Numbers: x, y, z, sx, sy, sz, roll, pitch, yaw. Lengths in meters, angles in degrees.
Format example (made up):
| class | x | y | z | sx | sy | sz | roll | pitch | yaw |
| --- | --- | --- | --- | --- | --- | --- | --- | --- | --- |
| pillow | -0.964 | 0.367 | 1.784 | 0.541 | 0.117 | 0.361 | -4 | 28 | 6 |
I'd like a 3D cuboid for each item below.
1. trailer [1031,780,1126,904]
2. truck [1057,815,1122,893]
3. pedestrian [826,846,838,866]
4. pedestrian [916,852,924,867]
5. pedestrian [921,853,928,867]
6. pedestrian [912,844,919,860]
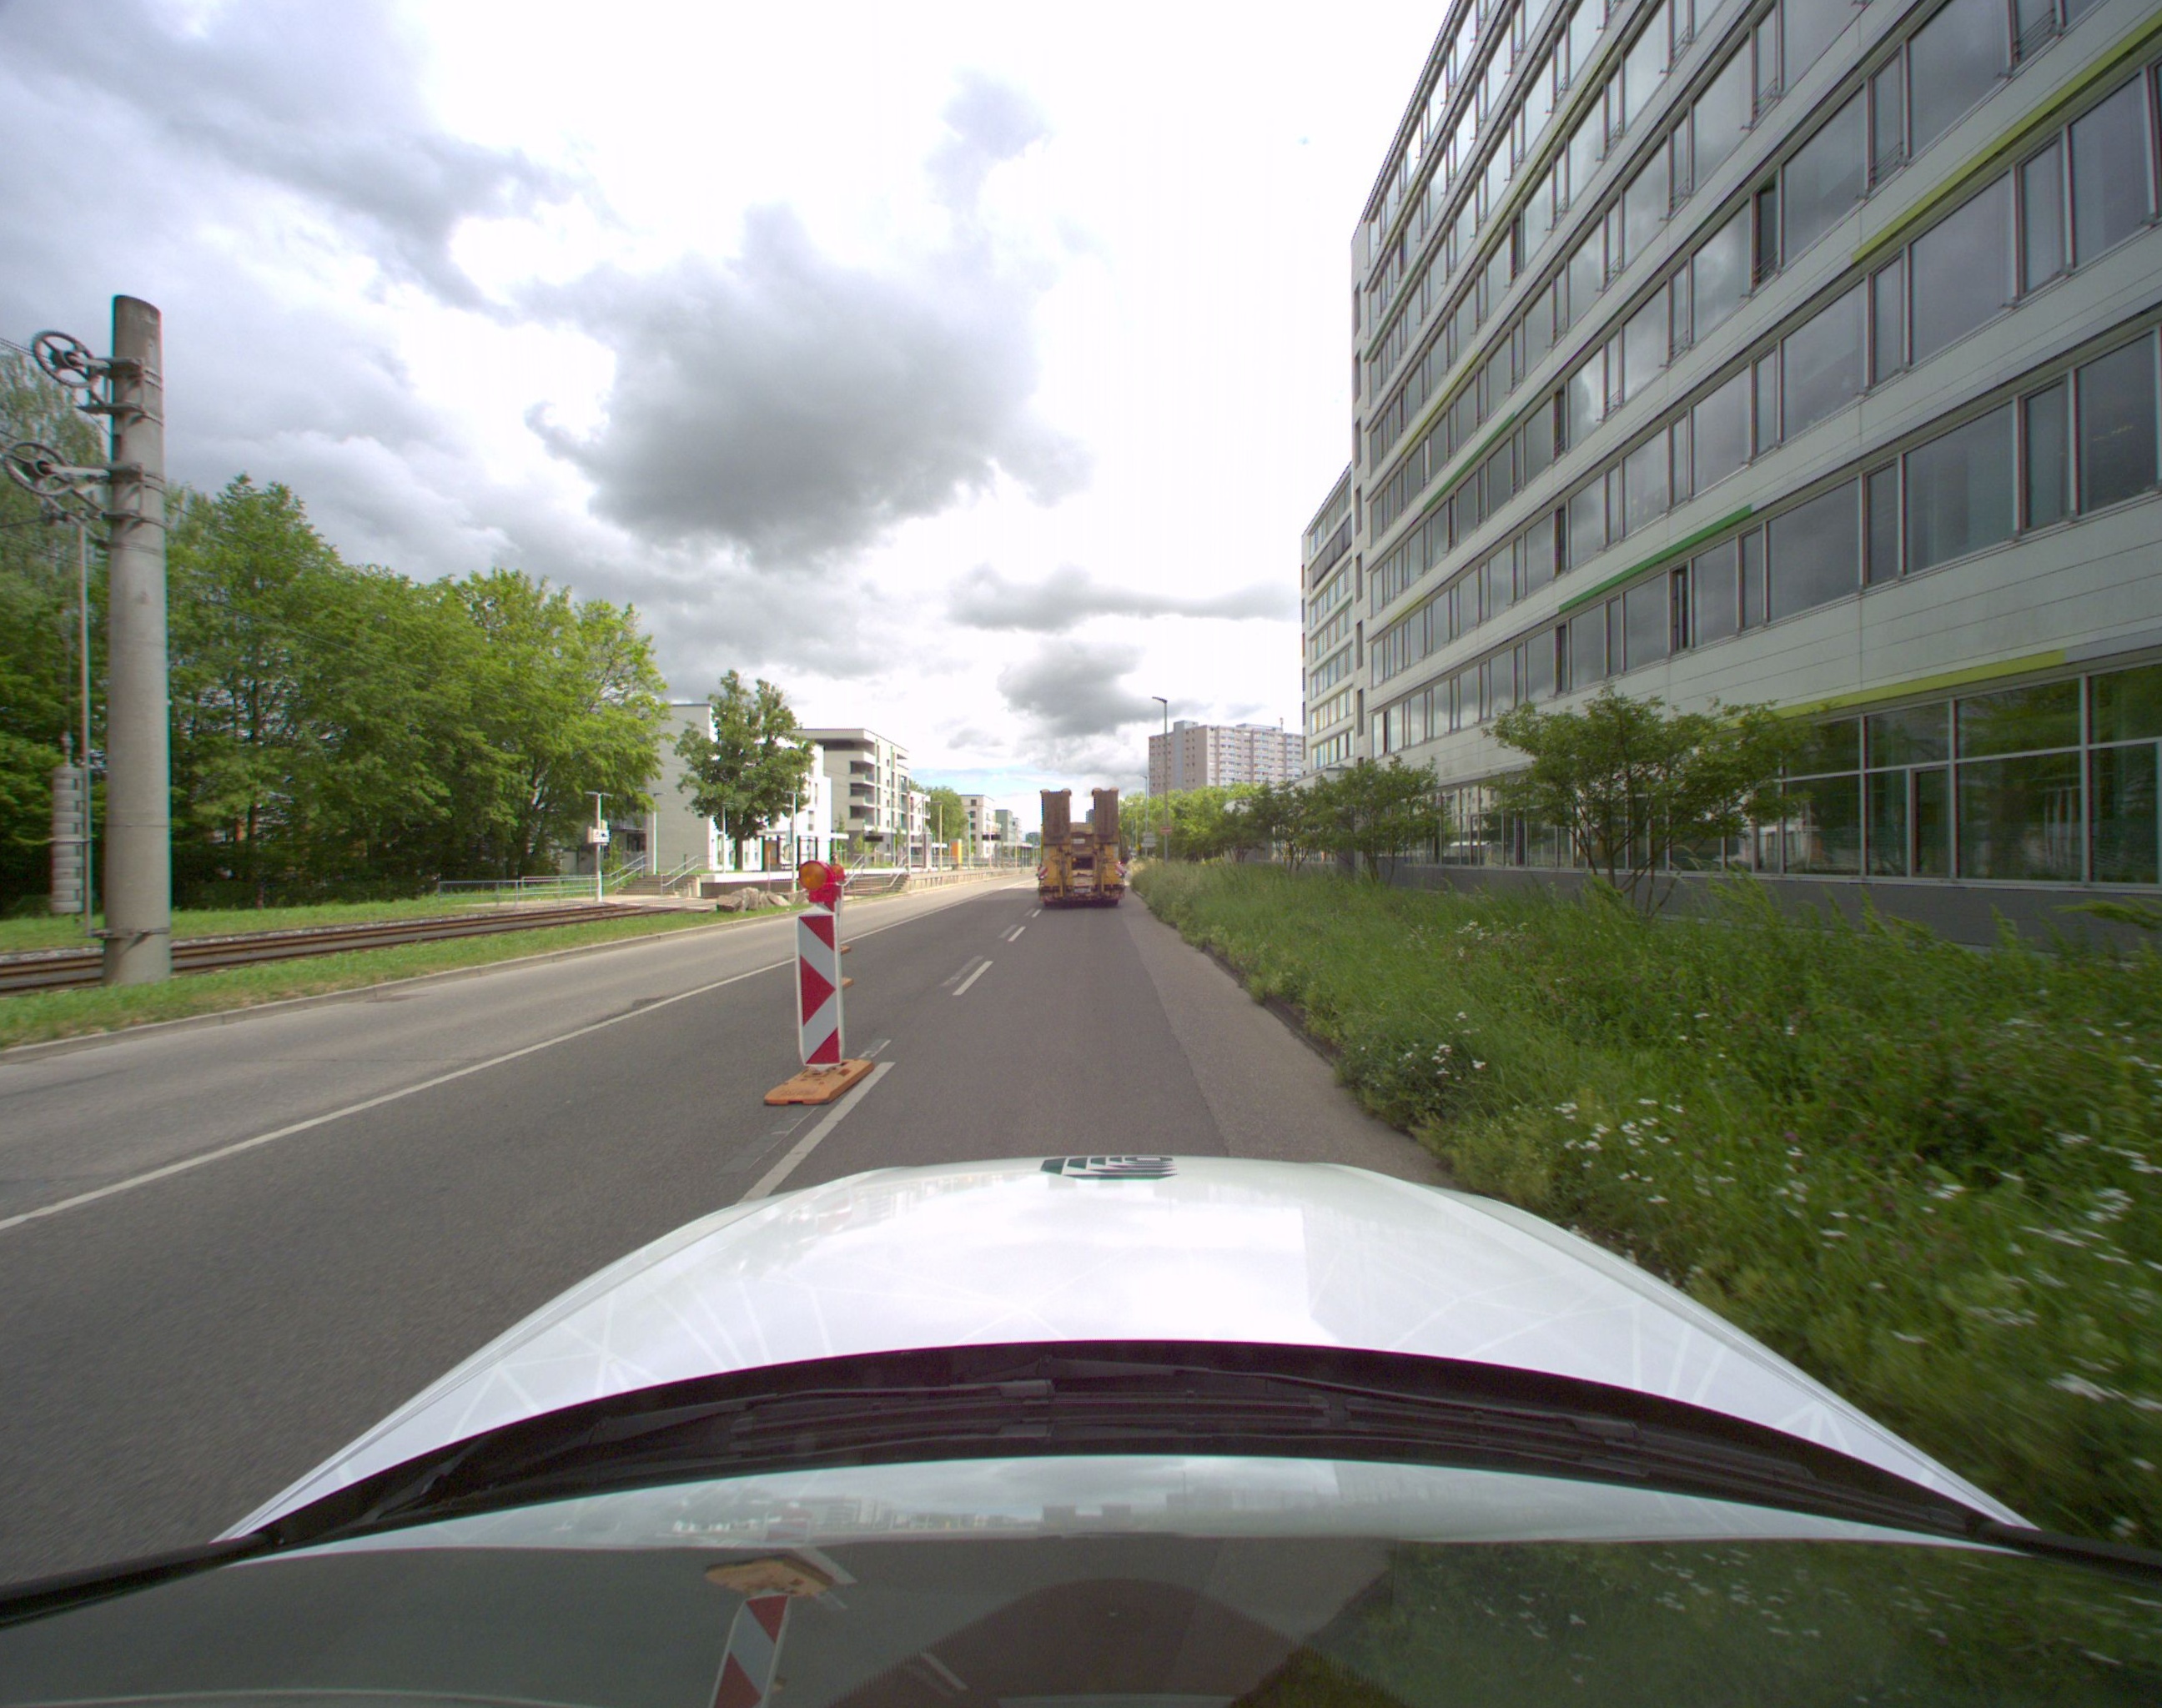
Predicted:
| class | x | y | z | sx | sy | sz | roll | pitch | yaw |
| --- | --- | --- | --- | --- | --- | --- | --- | --- | --- |
| trailer | 0.133 | -0.303 | 29.094 | 2.719 | 3.559 | 11.258 | 0 | 0 | 2 |
| truck | 0.477 | 0.015 | 38.917 | 2.743 | 3.313 | 8.354 | 0 | -1 | 2 |
| pedestrian | -19.122 | 0.128 | 62.525 | 0.738 | 1.531 | 0.547 | 0 | -1 | 4 |
| pedestrian | -17.583 | 0.635 | 88.903 | 0.483 | 1.597 | 0.681 | -1 | -1 | 45 |
| pedestrian | -17.317 | 0.661 | 90.073 | 0.482 | 1.597 | 0.682 | -1 | -1 | 36 |
| pedestrian | -17.951 | -0.205 | 88.445 | 0.491 | 1.725 | 0.671 | 0 | -1 | -33 |
